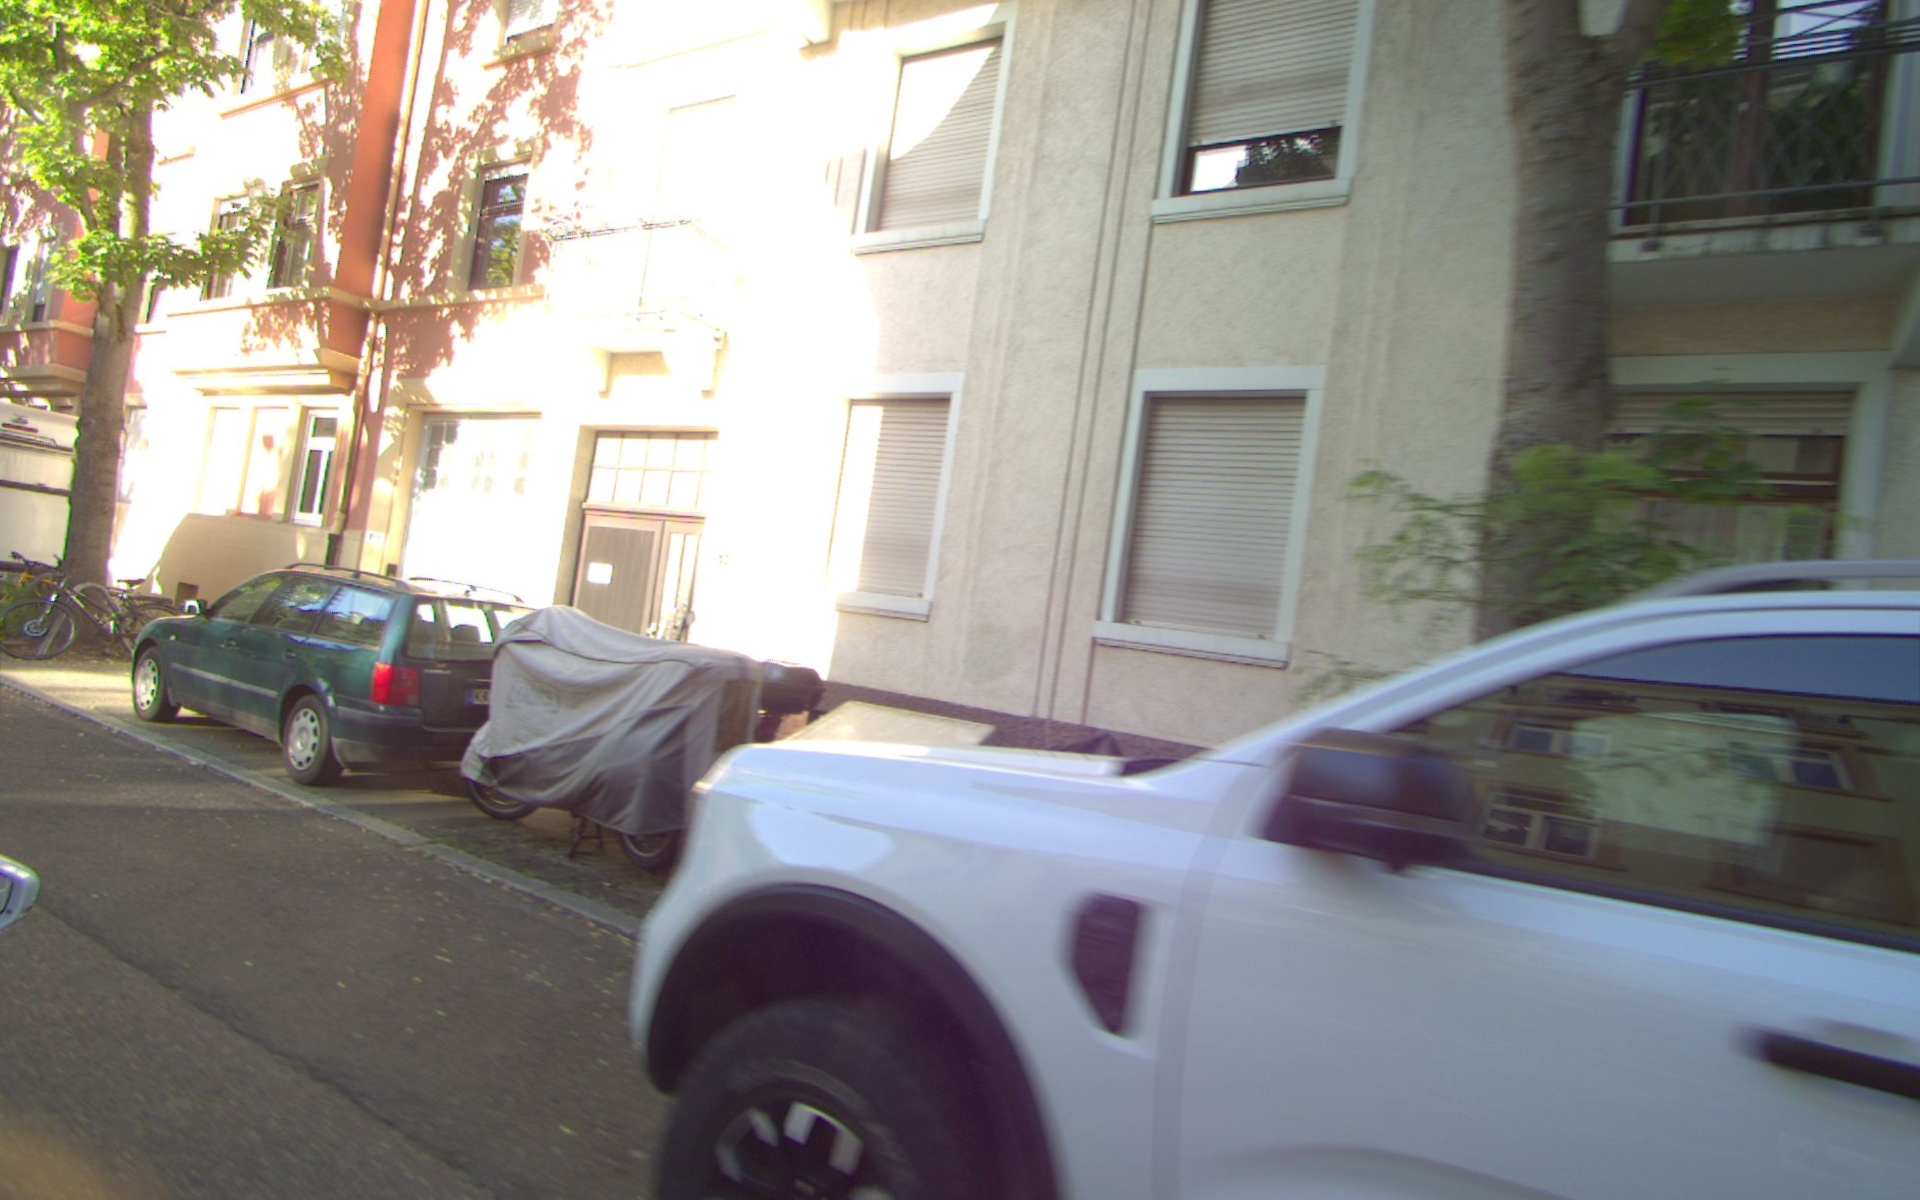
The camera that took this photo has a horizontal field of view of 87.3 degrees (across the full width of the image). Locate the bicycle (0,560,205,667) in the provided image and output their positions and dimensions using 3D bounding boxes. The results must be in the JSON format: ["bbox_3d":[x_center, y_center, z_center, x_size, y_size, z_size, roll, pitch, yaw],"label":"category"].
[{"bbox_3d":[-9.787,0.180,11.404,0.570,0.959,1.790,7,-4,33],"label":"bicycle"}]

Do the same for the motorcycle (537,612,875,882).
[{"bbox_3d":[-1.825,0.963,7.099,2.197,1.431,0.864,6,-4,33],"label":"motorcycle"}]

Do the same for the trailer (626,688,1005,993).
[{"bbox_3d":[-0.619,1.142,5.417,1.095,1.124,2.091,8,-4,18],"label":"trailer"}]

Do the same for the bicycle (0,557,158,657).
[{"bbox_3d":[-10.899,0.082,12.104,0.694,1.010,1.710,7,-4,25],"label":"bicycle"}]

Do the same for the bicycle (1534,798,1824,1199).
[{"bbox_3d":[2.610,1.510,3.831,0.576,1.319,1.764,7,-3,30],"label":"bicycle"}]

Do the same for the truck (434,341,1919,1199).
[{"bbox_3d":[1.689,0.843,1.686,5.449,1.970,1.834,7,-4,32],"label":"truck"}]

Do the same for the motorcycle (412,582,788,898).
[{"bbox_3d":[-2.273,0.789,6.278,2.103,1.502,0.932,7,-3,33],"label":"motorcycle"}]

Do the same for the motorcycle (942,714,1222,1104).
[{"bbox_3d":[0.450,1.256,4.623,0.690,1.253,1.765,9,-3,-7],"label":"motorcycle"}]

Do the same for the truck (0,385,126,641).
[{"bbox_3d":[-14.076,-1.349,13.693,6.006,3.005,2.077,7,0,31],"label":"truck"}]

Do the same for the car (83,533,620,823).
[{"bbox_3d":[-5.150,0.500,8.291,4.703,1.547,1.754,6,-2,33],"label":"car"}]
